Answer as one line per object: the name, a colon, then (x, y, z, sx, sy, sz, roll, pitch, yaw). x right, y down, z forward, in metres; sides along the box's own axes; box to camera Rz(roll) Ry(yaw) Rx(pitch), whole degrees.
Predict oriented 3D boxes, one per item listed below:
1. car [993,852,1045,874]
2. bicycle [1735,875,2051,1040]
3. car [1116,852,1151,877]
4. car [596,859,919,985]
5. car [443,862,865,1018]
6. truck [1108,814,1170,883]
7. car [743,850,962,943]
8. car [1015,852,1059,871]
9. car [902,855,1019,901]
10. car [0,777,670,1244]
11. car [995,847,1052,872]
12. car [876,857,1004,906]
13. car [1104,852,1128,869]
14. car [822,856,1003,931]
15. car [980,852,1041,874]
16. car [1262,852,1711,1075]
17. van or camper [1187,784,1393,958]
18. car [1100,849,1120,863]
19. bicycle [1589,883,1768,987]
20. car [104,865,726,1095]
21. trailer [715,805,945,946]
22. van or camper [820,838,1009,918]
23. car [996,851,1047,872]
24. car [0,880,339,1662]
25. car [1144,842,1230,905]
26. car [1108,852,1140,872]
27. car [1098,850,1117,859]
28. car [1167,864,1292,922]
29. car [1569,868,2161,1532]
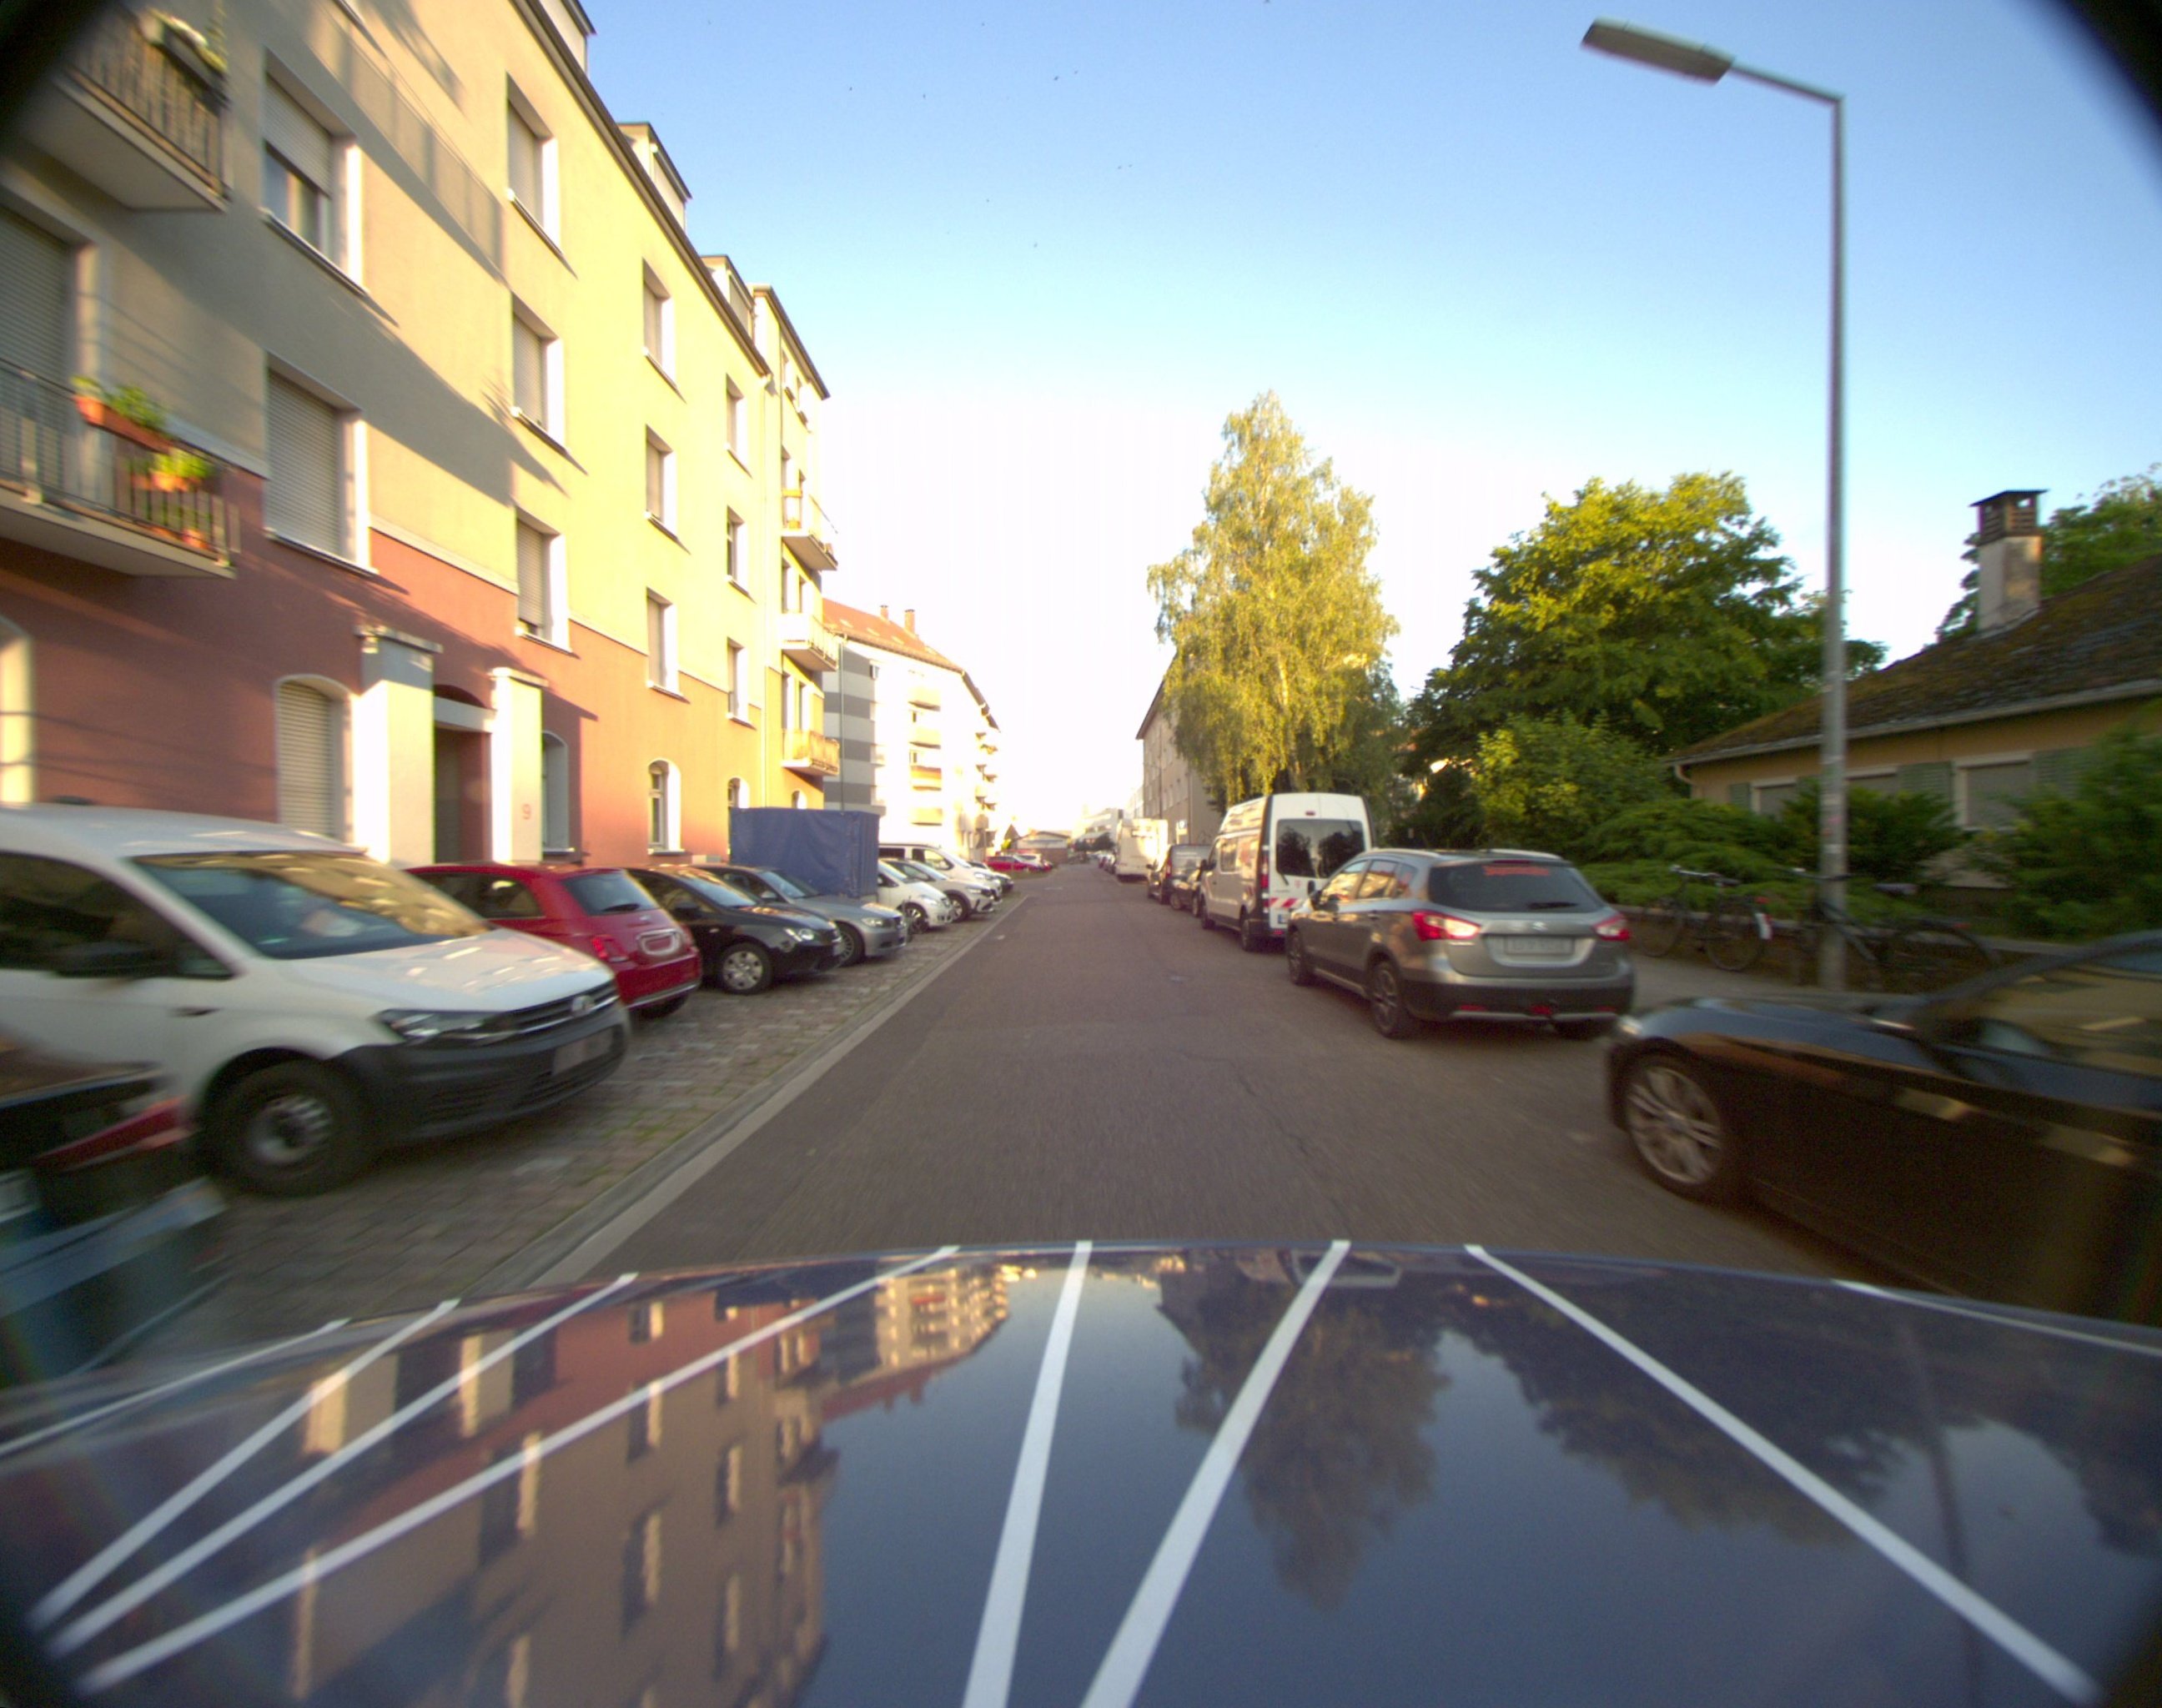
car: (-4.821, 0.681, 59.528, 3.998, 1.652, 1.999, -1, 0, -2)
bicycle: (6.686, 0.768, 6.444, 0.545, 1.111, 1.955, -2, 0, -1)
car: (3.281, 0.665, 48.524, 1.911, 1.468, 4.909, 1, 0, 0)
car: (-4.615, 0.937, 11.384, 3.998, 1.628, 1.902, -1, 1, -3)
car: (-4.817, 0.925, 9.079, 3.975, 1.562, 1.788, -1, 1, -3)
truck: (3.017, -0.293, 41.753, 2.532, 3.334, 8.015, 2, 0, -2)
car: (-4.659, 0.836, 16.008, 3.998, 1.718, 1.999, -1, 2, -2)
car: (-4.187, 0.700, 72.642, 3.996, 1.674, 2.000, -1, 0, 3)
car: (-4.407, 0.853, 28.332, 4.113, 1.576, 1.854, -1, 1, -3)
car: (-4.883, 0.664, 4.090, 4.278, 1.968, 1.821, 1, -1, -4)
car: (-4.858, 0.477, 64.874, 4.685, 1.988, 2.000, -1, 0, 1)
car: (-4.716, 0.908, 25.939, 3.998, 1.521, 1.999, -1, 0, -2)
car: (3.164, 0.602, 69.552, 1.792, 1.436, 4.431, -1, 0, -2)
car: (-4.004, 0.924, 18.650, 3.998, 1.630, 1.999, -1, 1, -2)
car: (-5.236, 0.646, 56.931, 4.311, 1.532, 1.923, -1, 0, 1)
car: (3.407, 0.760, 7.698, 1.998, 1.510, 4.788, -1, 0, 0)
van or camper: (3.400, 0.234, 13.828, 1.999, 2.442, 6.082, -1, 0, 0)
car: (3.219, 0.186, 85.624, 1.999, 1.481, 4.431, -1, 0, -2)
bicycle: (6.732, 0.859, 8.704, 0.544, 0.959, 1.955, -2, 0, 2)
car: (-5.331, 0.938, 6.529, 3.702, 1.601, 1.745, -1, 1, -2)
trailer: (-4.445, 0.374, 13.951, 3.577, 2.323, 1.940, 1, 0, -3)
van or camper: (-4.540, 0.639, 21.376, 4.846, 2.084, 2.040, -1, 0, -1)
car: (-4.824, 0.583, 61.966, 3.998, 1.619, 1.784, -1, 0, -3)
car: (-4.357, 0.920, 1.391, 4.163, 1.606, 1.872, -1, 0, 1)
car: (3.238, 0.554, 24.208, 1.915, 1.777, 4.948, 0, 0, -1)
car: (3.258, 0.606, 58.213, 1.999, 1.436, 4.431, -1, 0, -2)
car: (5.732, 0.136, 166.372, 3.997, 1.739, 2.000, -1, 0, 1)
car: (3.557, 0.903, 19.027, 1.999, 1.182, 4.034, -1, 0, -5)
car: (3.487, 0.825, 1.736, 1.998, 1.444, 4.288, -1, 0, 0)
